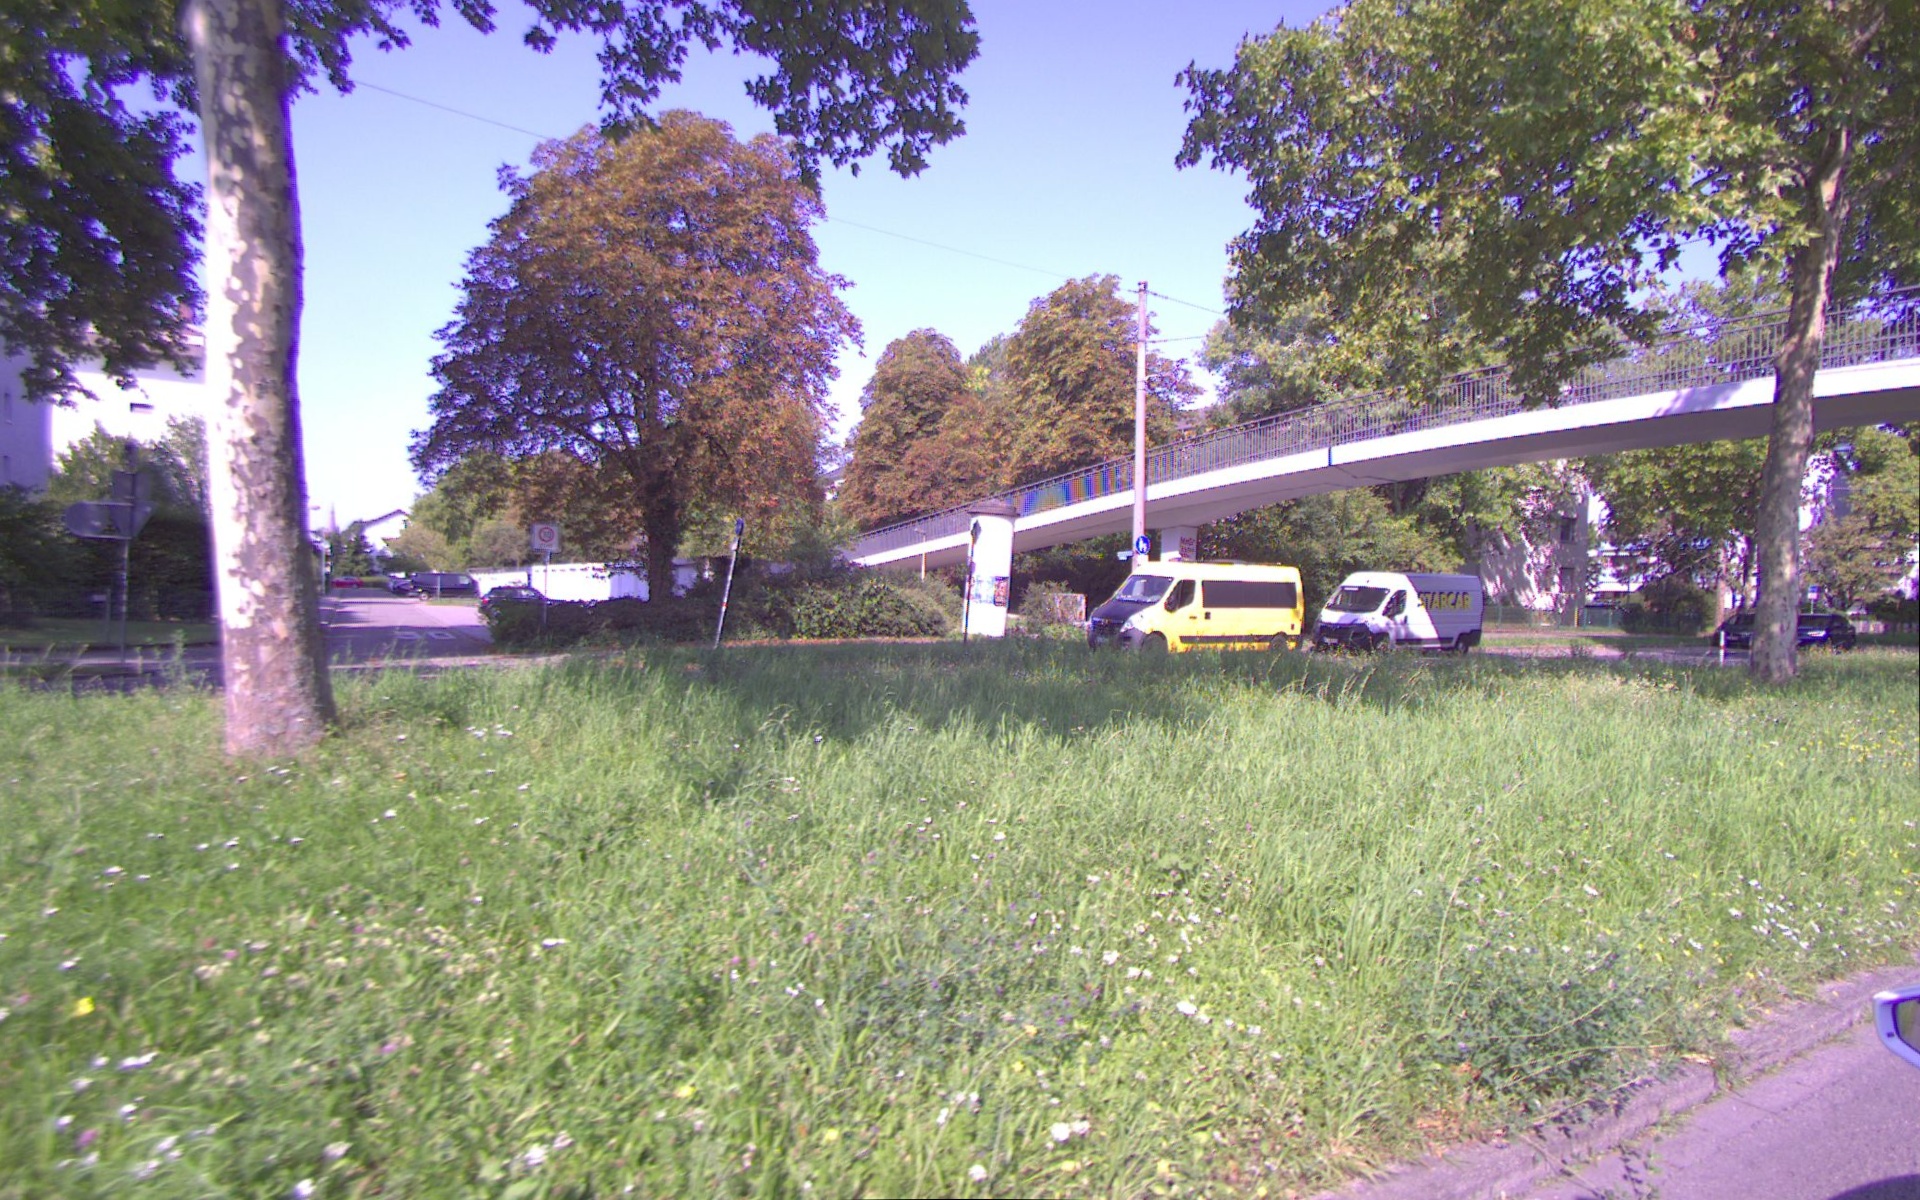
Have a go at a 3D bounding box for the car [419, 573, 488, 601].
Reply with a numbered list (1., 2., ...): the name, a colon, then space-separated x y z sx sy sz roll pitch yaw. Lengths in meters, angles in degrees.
1. car: -35.462 -0.914 70.336 4.187 1.841 1.688 2 0 -30

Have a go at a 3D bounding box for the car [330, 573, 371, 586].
1. car: -76.130 -2.579 125.495 4.371 1.464 1.983 2 1 -31

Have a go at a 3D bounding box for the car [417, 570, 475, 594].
1. car: -42.801 -1.491 83.613 4.187 1.841 1.688 2 0 -30

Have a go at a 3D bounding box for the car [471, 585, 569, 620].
1. car: -19.684 0.115 44.972 3.879 1.486 1.688 1 0 -30

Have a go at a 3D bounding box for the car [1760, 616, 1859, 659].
1. car: 33.996 1.507 40.174 4.408 1.553 1.777 2 1 -33

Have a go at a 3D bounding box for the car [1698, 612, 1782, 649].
1. car: 34.451 1.348 44.352 3.816 1.553 1.516 2 0 -29

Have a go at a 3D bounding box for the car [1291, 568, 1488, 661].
1. car: 12.926 0.445 30.057 6.197 2.463 2.195 2 3 -33

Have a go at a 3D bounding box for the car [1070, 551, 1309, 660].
1. car: 5.914 0.175 25.632 5.989 2.512 2.197 2 1 -30

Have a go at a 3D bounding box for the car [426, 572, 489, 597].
1. car: -37.972 -1.178 75.899 4.187 1.841 1.688 0 2 -30

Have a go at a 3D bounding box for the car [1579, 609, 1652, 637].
1. car: 46.260 1.597 70.949 3.922 1.795 2.000 2 1 21

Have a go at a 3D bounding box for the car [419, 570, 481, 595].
1. car: -40.109 -1.366 79.013 4.187 1.841 1.688 2 0 -30
